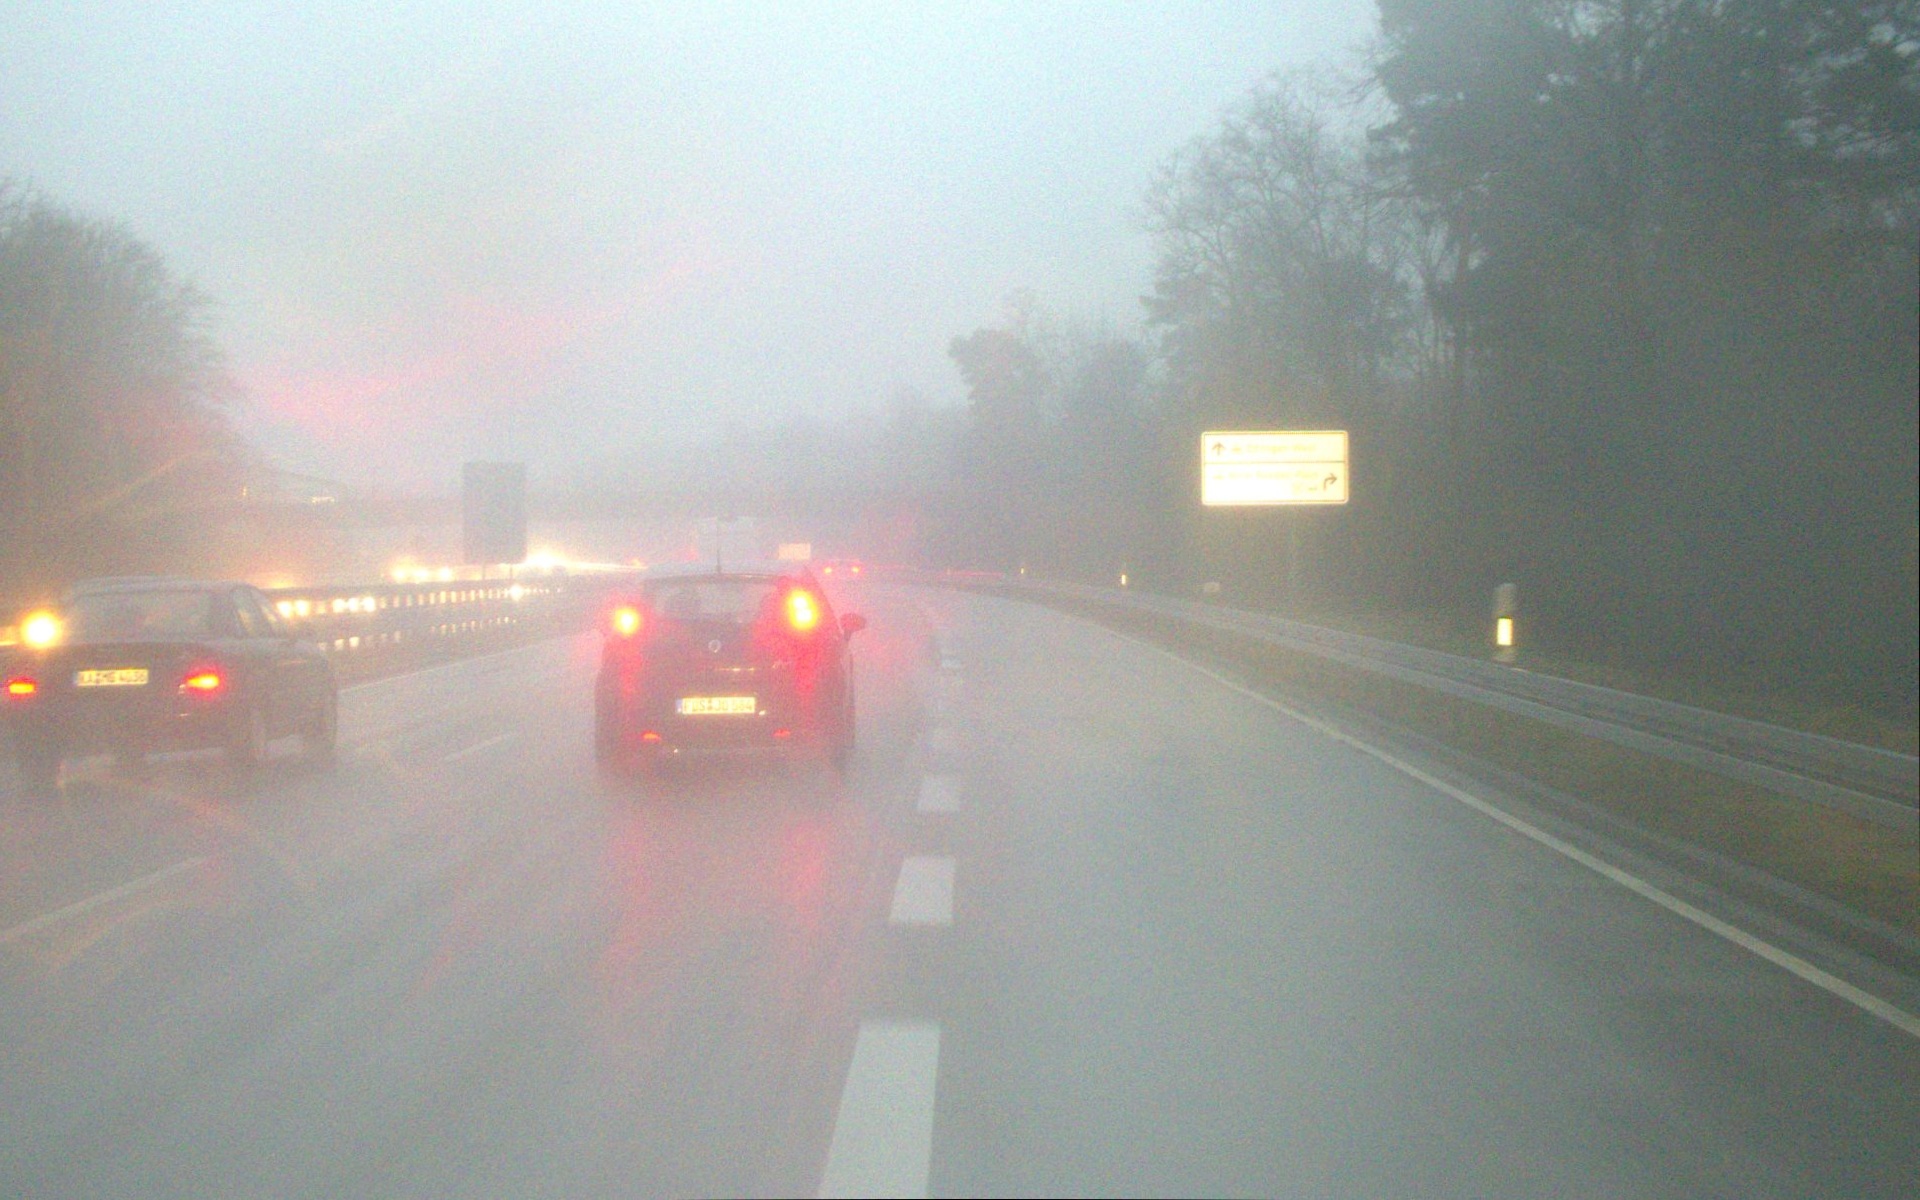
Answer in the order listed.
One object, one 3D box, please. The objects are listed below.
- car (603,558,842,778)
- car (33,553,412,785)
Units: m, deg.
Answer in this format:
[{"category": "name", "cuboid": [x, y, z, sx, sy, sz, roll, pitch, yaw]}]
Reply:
[{"category": "car", "cuboid": [-1.646, 0.437, 24.726, 1.527, 1.411, 3.479, 2, 1, -1]}, {"category": "car", "cuboid": [-5.495, 0.450, 26.223, 1.776, 1.529, 4.703, -2, 1, 1]}]
